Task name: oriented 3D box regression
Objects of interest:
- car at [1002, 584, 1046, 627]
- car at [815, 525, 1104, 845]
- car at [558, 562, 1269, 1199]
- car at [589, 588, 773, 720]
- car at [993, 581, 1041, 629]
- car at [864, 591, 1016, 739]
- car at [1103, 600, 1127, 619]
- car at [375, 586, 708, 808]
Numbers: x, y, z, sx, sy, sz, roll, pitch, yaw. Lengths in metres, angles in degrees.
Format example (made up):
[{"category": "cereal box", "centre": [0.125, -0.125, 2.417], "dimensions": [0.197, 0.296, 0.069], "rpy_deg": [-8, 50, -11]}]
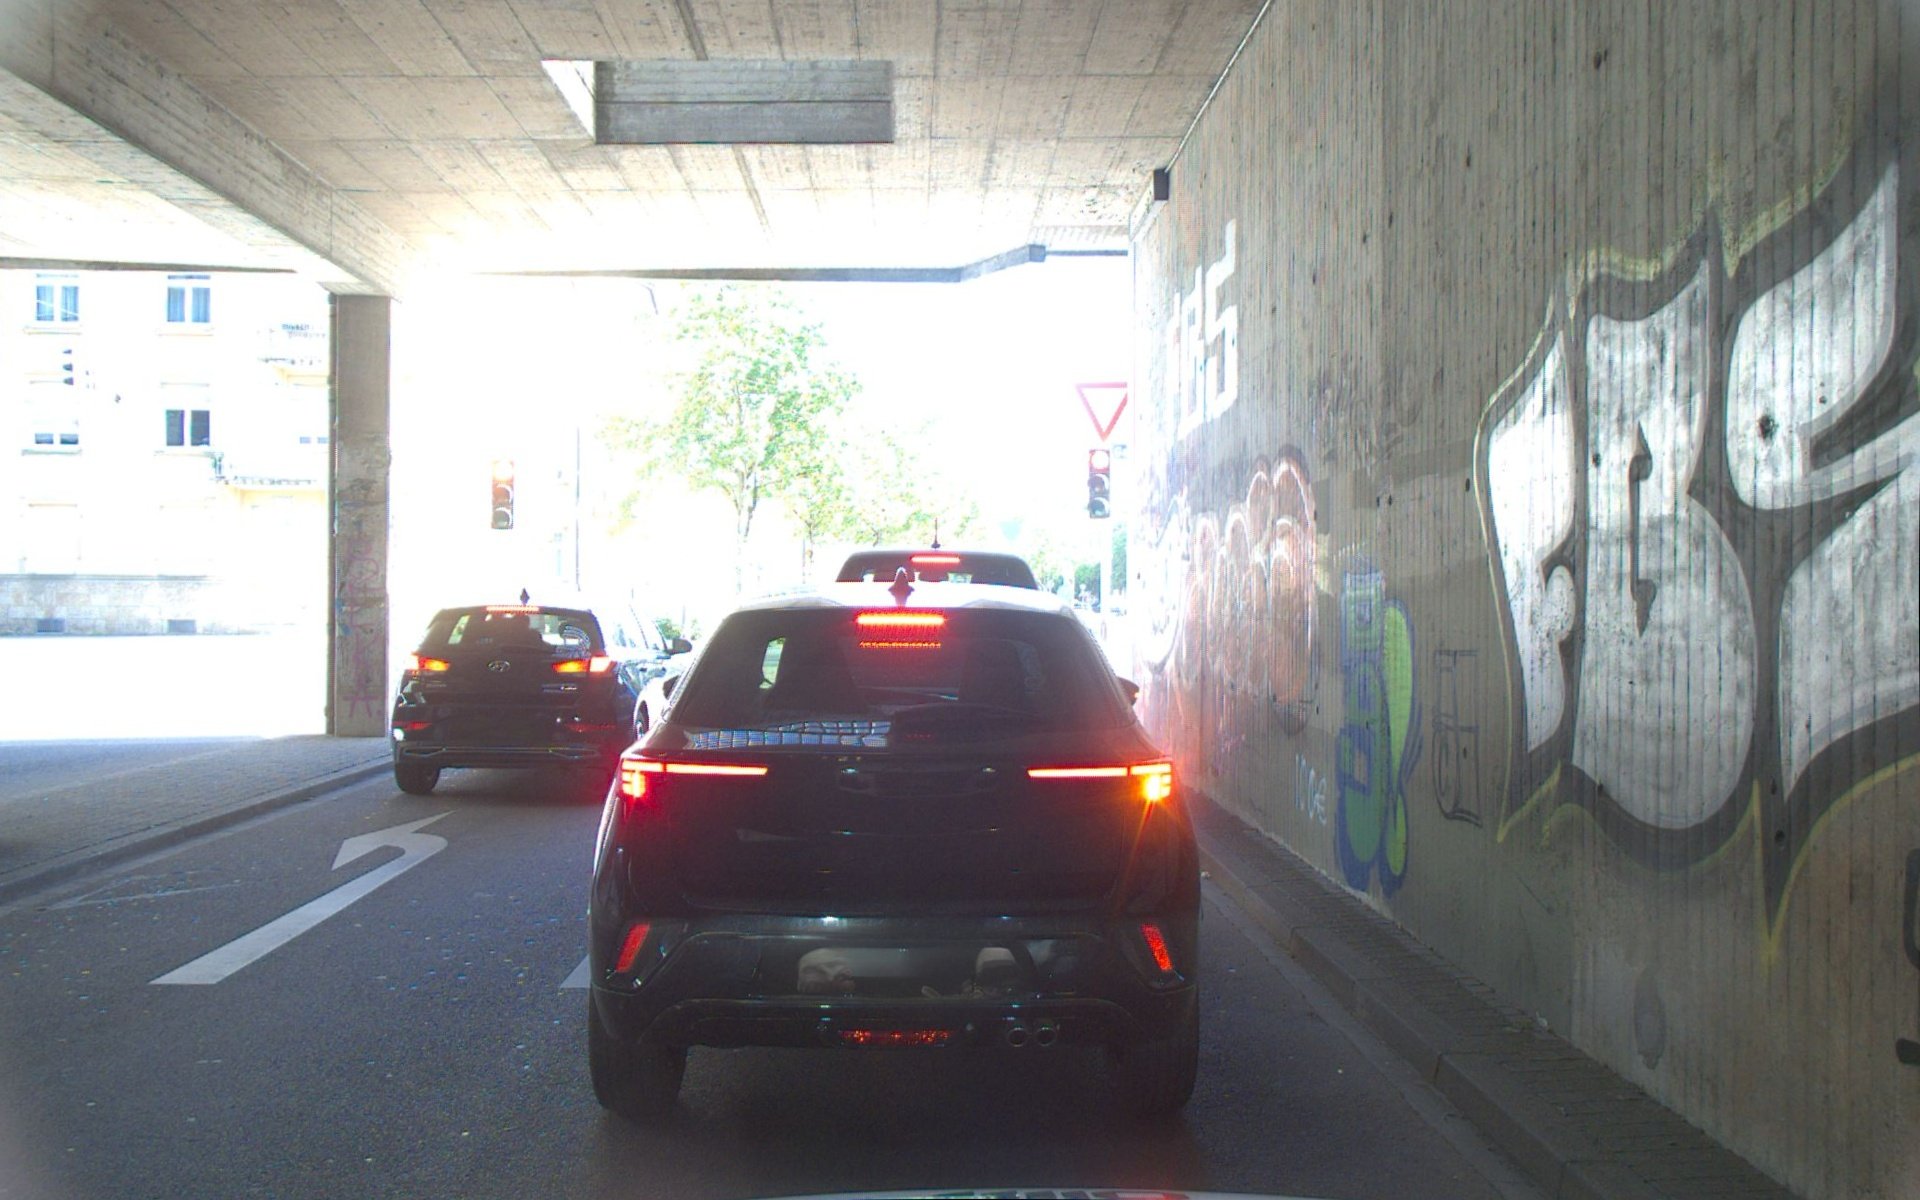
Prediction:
[{"category": "car", "centre": [2.666, 0.221, 68.345], "dimensions": [1.717, 1.696, 3.946], "rpy_deg": [1, 0, 3]}, {"category": "car", "centre": [-0.033, 0.506, 12.024], "dimensions": [1.726, 1.915, 4.145], "rpy_deg": [0, 0, -1]}, {"category": "car", "centre": [-0.139, 0.687, 6.079], "dimensions": [1.726, 1.558, 4.088], "rpy_deg": [0, 0, -1]}, {"category": "car", "centre": [-3.420, 0.619, 20.943], "dimensions": [1.726, 1.506, 3.843], "rpy_deg": [0, 0, -1]}, {"category": "car", "centre": [2.177, 0.186, 62.219], "dimensions": [1.717, 1.696, 3.946], "rpy_deg": [1, 0, 3]}, {"category": "car", "centre": [-0.239, 0.672, 19.238], "dimensions": [1.576, 1.539, 4.053], "rpy_deg": [0, 0, -1]}, {"category": "car", "centre": [14.601, 0.921, 155.479], "dimensions": [1.778, 1.696, 4.819], "rpy_deg": [1, 0, 11]}, {"category": "car", "centre": [-3.149, 0.658, 13.222], "dimensions": [1.726, 1.506, 3.843], "rpy_deg": [0, 0, -1]}]
